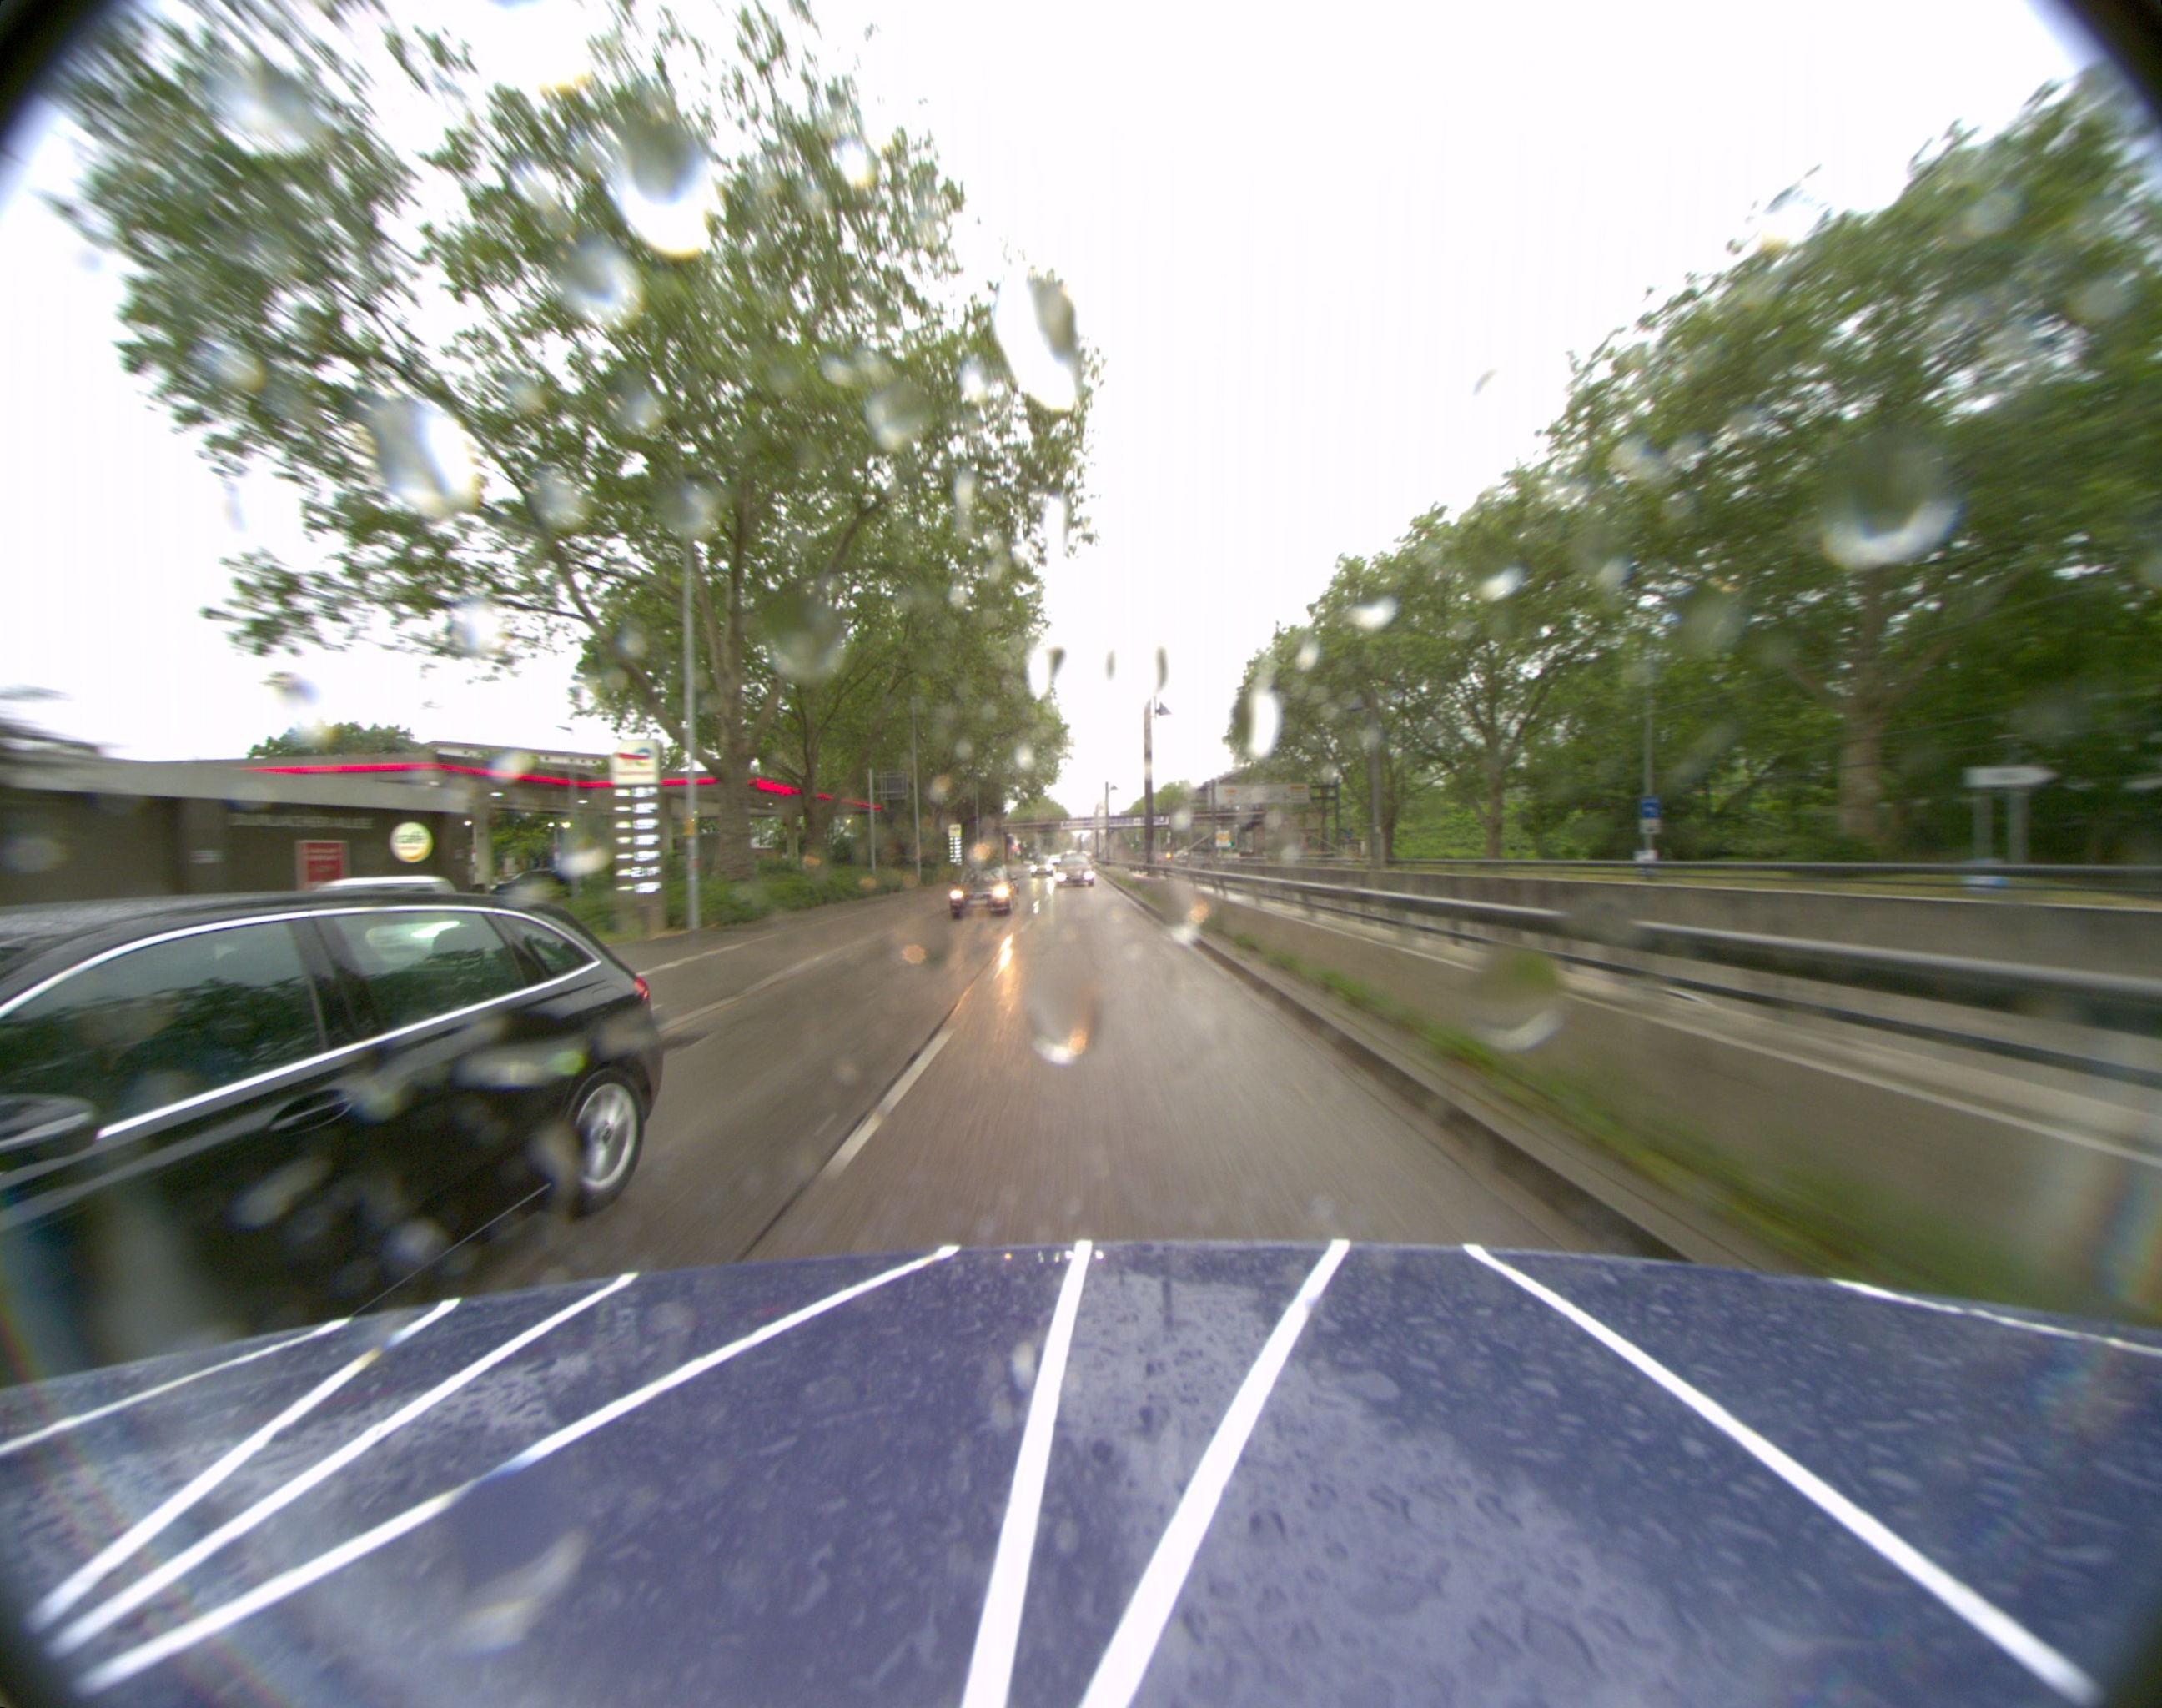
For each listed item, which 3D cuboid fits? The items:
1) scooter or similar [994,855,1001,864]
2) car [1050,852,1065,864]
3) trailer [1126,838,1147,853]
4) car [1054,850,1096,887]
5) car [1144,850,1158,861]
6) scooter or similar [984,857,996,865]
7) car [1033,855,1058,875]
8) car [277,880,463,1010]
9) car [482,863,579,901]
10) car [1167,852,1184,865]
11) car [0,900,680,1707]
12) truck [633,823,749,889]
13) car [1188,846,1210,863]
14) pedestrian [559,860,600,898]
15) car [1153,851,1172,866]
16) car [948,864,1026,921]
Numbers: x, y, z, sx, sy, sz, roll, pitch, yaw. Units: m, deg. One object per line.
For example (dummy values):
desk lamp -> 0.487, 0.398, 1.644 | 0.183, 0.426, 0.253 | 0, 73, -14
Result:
scooter or similar -> -11.782, 0.763, 106.879 | 0.453, 1.152, 1.828 | -3, 0, 7
car -> -3.271, 0.572, 105.808 | 1.869, 1.688, 4.425 | -2, -1, -1
trailer -> 13.652, -2.065, 189.030 | 3.332, 3.241, 11.117 | -3, 0, -5
car -> -0.249, 0.738, 39.935 | 1.975, 1.794, 4.159 | -2, -1, 2
car -> 13.402, 0.214, 145.995 | 1.999, 2.002, 4.510 | -3, 0, -1
scooter or similar -> -12.594, 0.924, 105.078 | 0.452, 1.004, 1.742 | -2, 1, 37
car -> -2.871, 0.884, 61.680 | 1.821, 1.520, 4.158 | -2, -1, 0
car -> -9.902, 1.135, 10.745 | 1.611, 1.423, 3.547 | -4, 1, -41
car -> -26.729, 1.330, 37.093 | 1.833, 1.583, 3.879 | -3, 0, 0
car -> 14.982, 0.711, 120.850 | 1.999, 2.002, 3.999 | -3, 0, -1
car -> -3.068, 1.053, 1.937 | 1.821, 1.521, 4.420 | -2, 0, -2
truck -> -22.209, 0.085, 43.839 | 2.701, 3.332, 7.768 | -3, 0, -2
car -> 14.886, 0.030, 96.168 | 1.999, 2.002, 4.510 | -3, 0, -1
pedestrian -> -24.444, 1.190, 37.079 | 1.224, 1.783, 1.064 | -1, 1, 1
car -> 11.587, 0.613, 108.215 | 1.999, 2.002, 4.615 | -3, 0, -1
car -> -2.667, 1.051, 22.354 | 1.641, 1.377, 3.782 | -3, 1, 2
